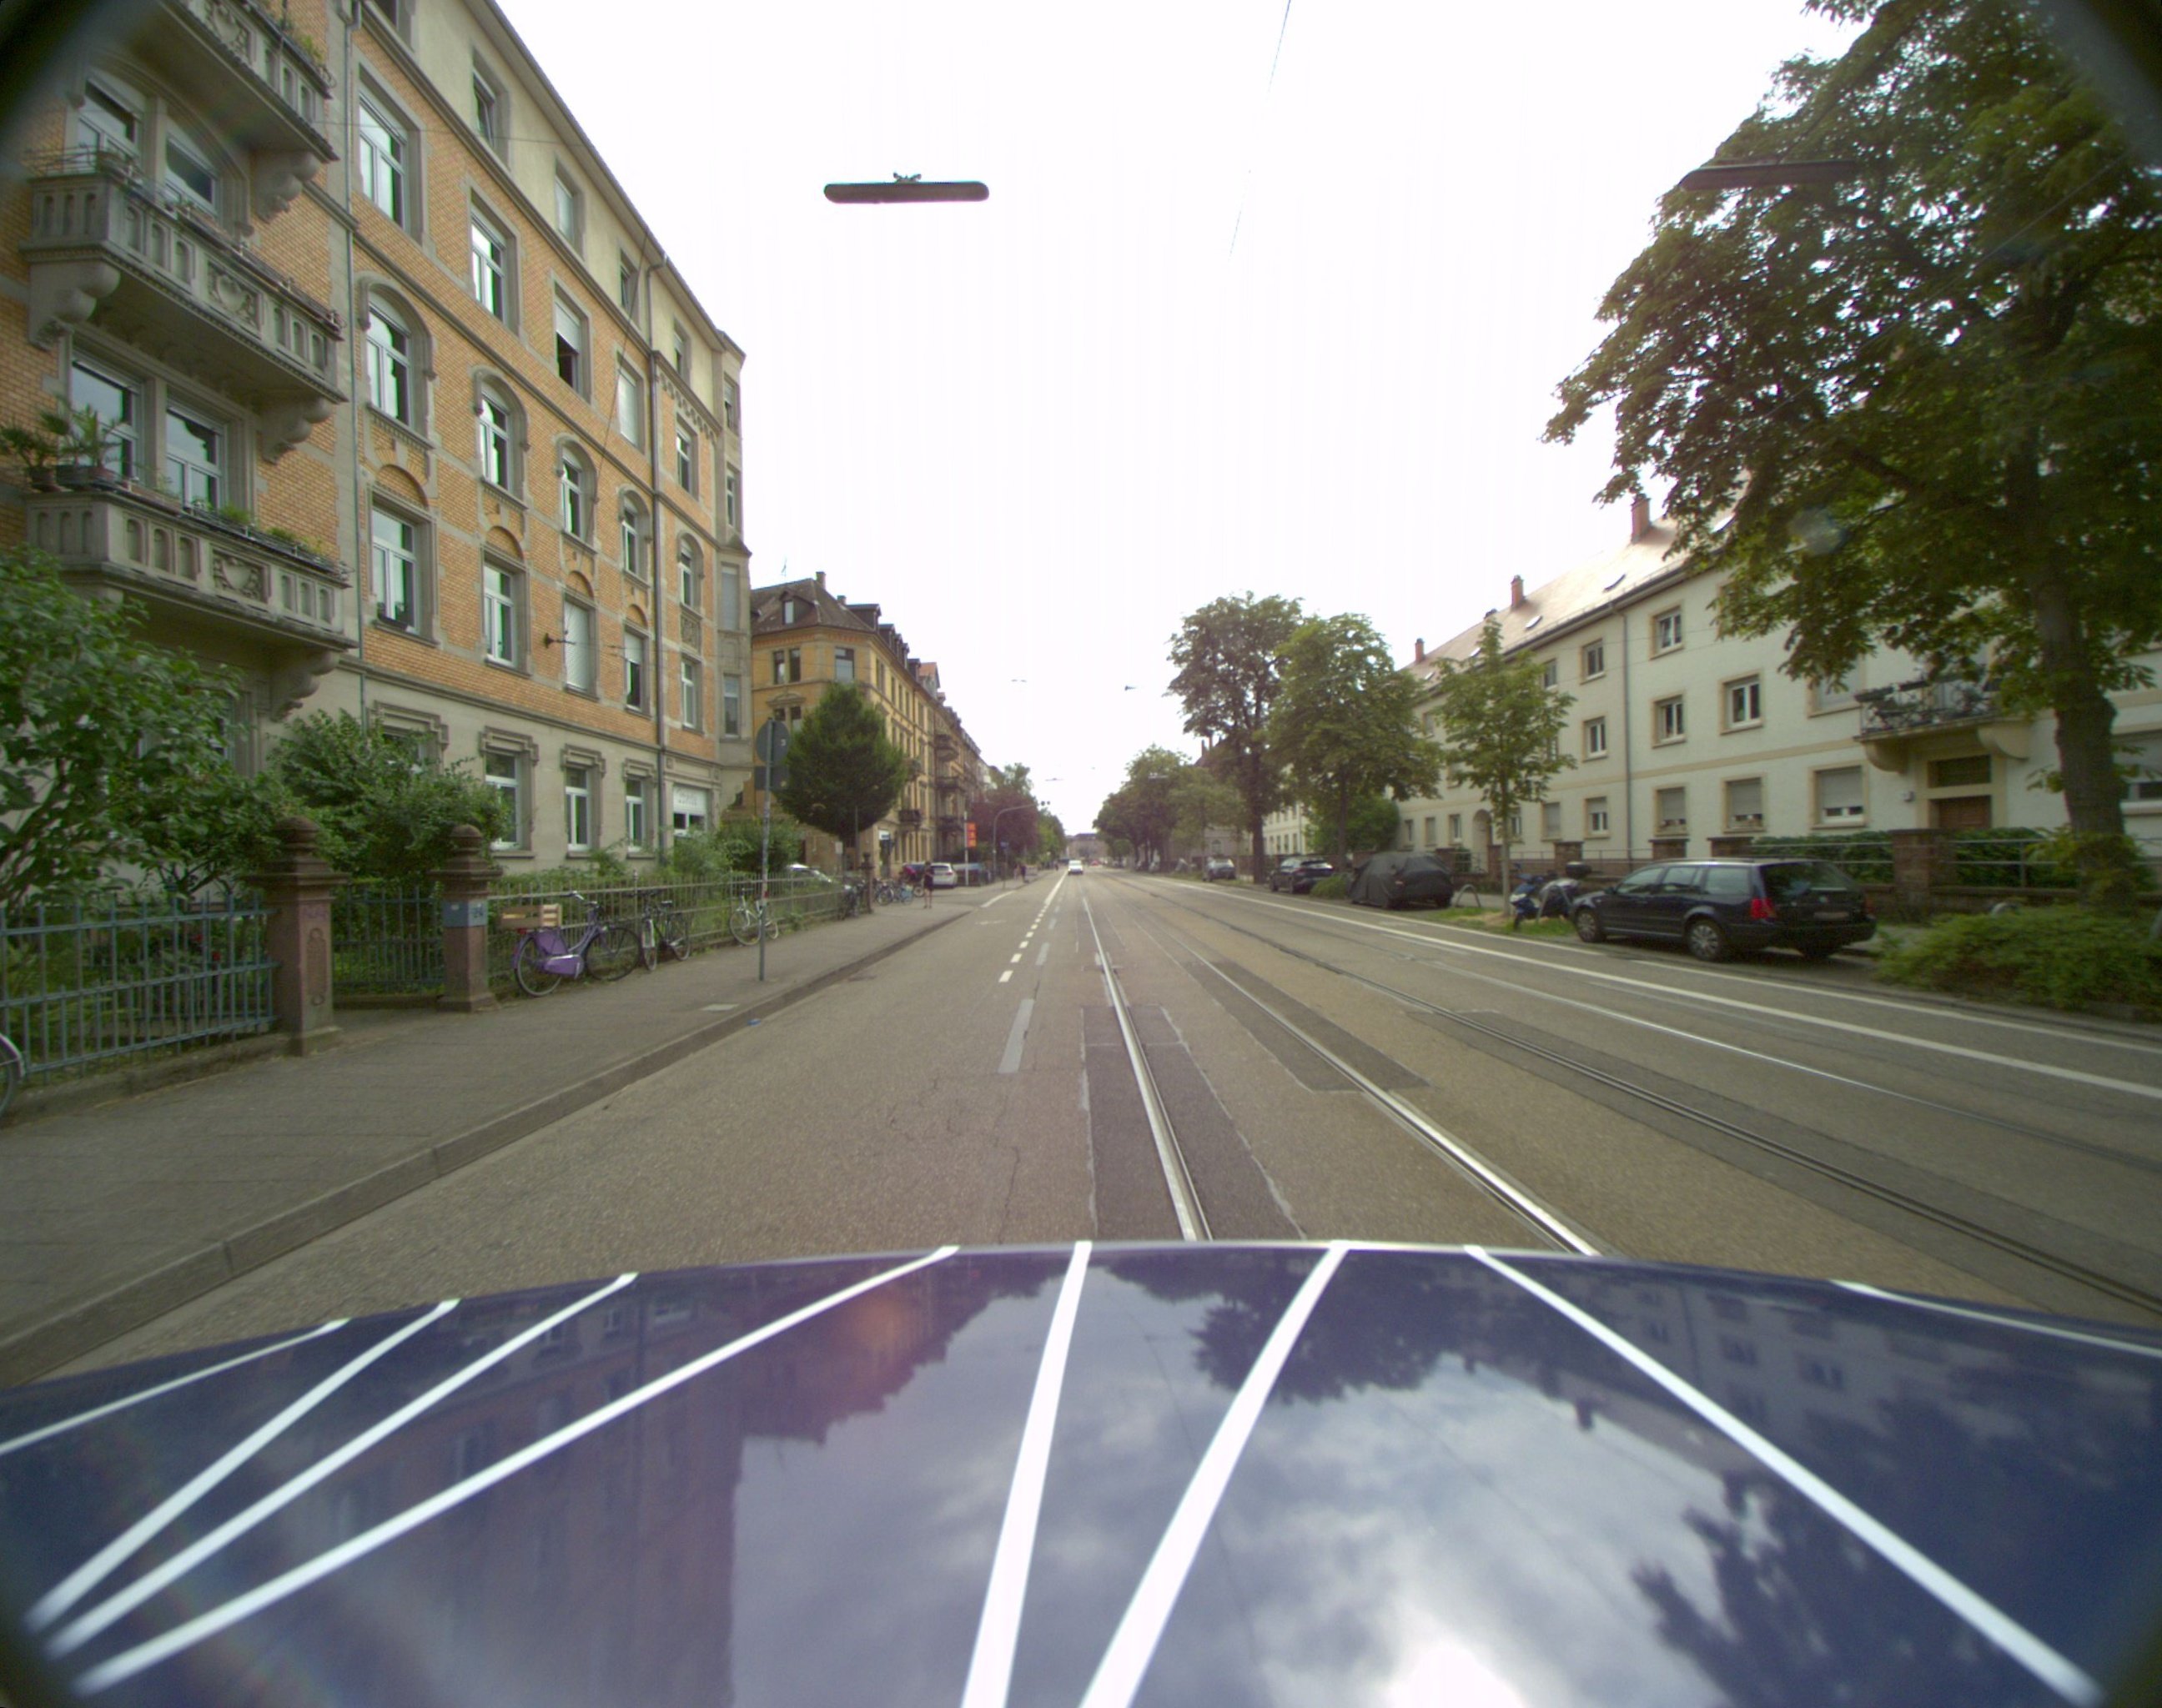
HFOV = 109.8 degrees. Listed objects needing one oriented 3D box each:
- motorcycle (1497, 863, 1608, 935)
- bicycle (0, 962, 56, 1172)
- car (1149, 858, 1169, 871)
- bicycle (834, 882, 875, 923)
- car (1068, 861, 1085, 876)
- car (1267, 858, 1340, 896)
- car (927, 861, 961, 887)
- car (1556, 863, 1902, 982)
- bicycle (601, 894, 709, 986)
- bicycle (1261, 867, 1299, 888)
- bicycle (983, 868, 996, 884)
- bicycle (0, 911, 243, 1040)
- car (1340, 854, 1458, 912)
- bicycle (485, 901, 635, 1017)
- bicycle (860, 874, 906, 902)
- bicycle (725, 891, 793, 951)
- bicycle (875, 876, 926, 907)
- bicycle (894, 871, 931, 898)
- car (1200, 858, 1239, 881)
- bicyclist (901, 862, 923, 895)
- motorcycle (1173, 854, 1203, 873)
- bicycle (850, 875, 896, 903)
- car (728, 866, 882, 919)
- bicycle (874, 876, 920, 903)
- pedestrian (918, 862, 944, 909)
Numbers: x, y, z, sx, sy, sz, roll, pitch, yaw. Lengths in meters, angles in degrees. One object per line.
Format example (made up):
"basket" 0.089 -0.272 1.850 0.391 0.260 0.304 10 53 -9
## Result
"motorcycle" 9.740 0.918 15.721 1.871 1.253 0.592 -7 1 -4
"bicycle" -6.123 1.170 3.481 0.580 1.105 1.672 -1 0 -1
"car" 9.126 1.215 89.356 1.732 1.462 4.299 -1 0 -2
"bicycle" -6.034 1.281 20.340 0.580 0.977 1.672 3 0 -1
"car" -0.554 1.731 92.015 1.876 1.670 5.131 -1 0 1
"car" 9.468 0.940 32.644 1.701 1.462 4.299 -1 0 -2
"car" -8.497 1.212 47.304 1.757 1.516 3.998 -1 0 -6
"car" 9.677 0.905 11.912 1.701 1.415 4.300 -3 0 0
"bicycle" -6.006 1.168 10.814 0.580 1.105 1.672 3 0 -1
"bicycle" 9.741 1.154 37.236 1.672 0.965 0.672 -1 0 -9
"bicycle" -6.403 1.537 53.193 0.630 1.106 1.874 -1 0 1
"bicycle" -9.163 1.125 7.215 1.671 1.105 0.611 -1 0 -2
"car" 9.615 0.820 23.370 1.790 1.602 4.300 -1 0 0
"bicycle" -5.983 1.163 8.840 0.580 1.105 1.672 3 0 -1
"bicycle" -8.328 1.438 31.997 1.889 1.121 0.533 -1 0 21
"bicycle" -6.085 1.244 14.449 0.580 0.977 1.672 3 0 -1
"bicycle" -7.074 1.452 29.819 0.629 1.106 1.878 -1 0 43
"bicycle" -8.477 1.529 38.226 1.669 1.250 0.581 -3 -2 9
"car" 9.408 1.009 51.815 1.701 1.462 4.299 -2 0 -2
"bicyclist" -8.487 1.230 38.234 0.857 1.590 0.581 -3 -2 9
"motorcycle" 9.477 0.827 67.462 2.312 1.382 0.838 -6 1 32
"bicycle" -8.586 1.455 31.369 1.889 1.121 0.533 -1 0 22
"car" -8.826 1.206 24.560 4.296 1.498 1.702 -2 0 0
"bicycle" -8.005 1.532 33.058 1.890 1.121 0.533 -1 0 16
"pedestrian" -5.363 1.110 27.195 0.732 1.614 0.835 -1 0 0
